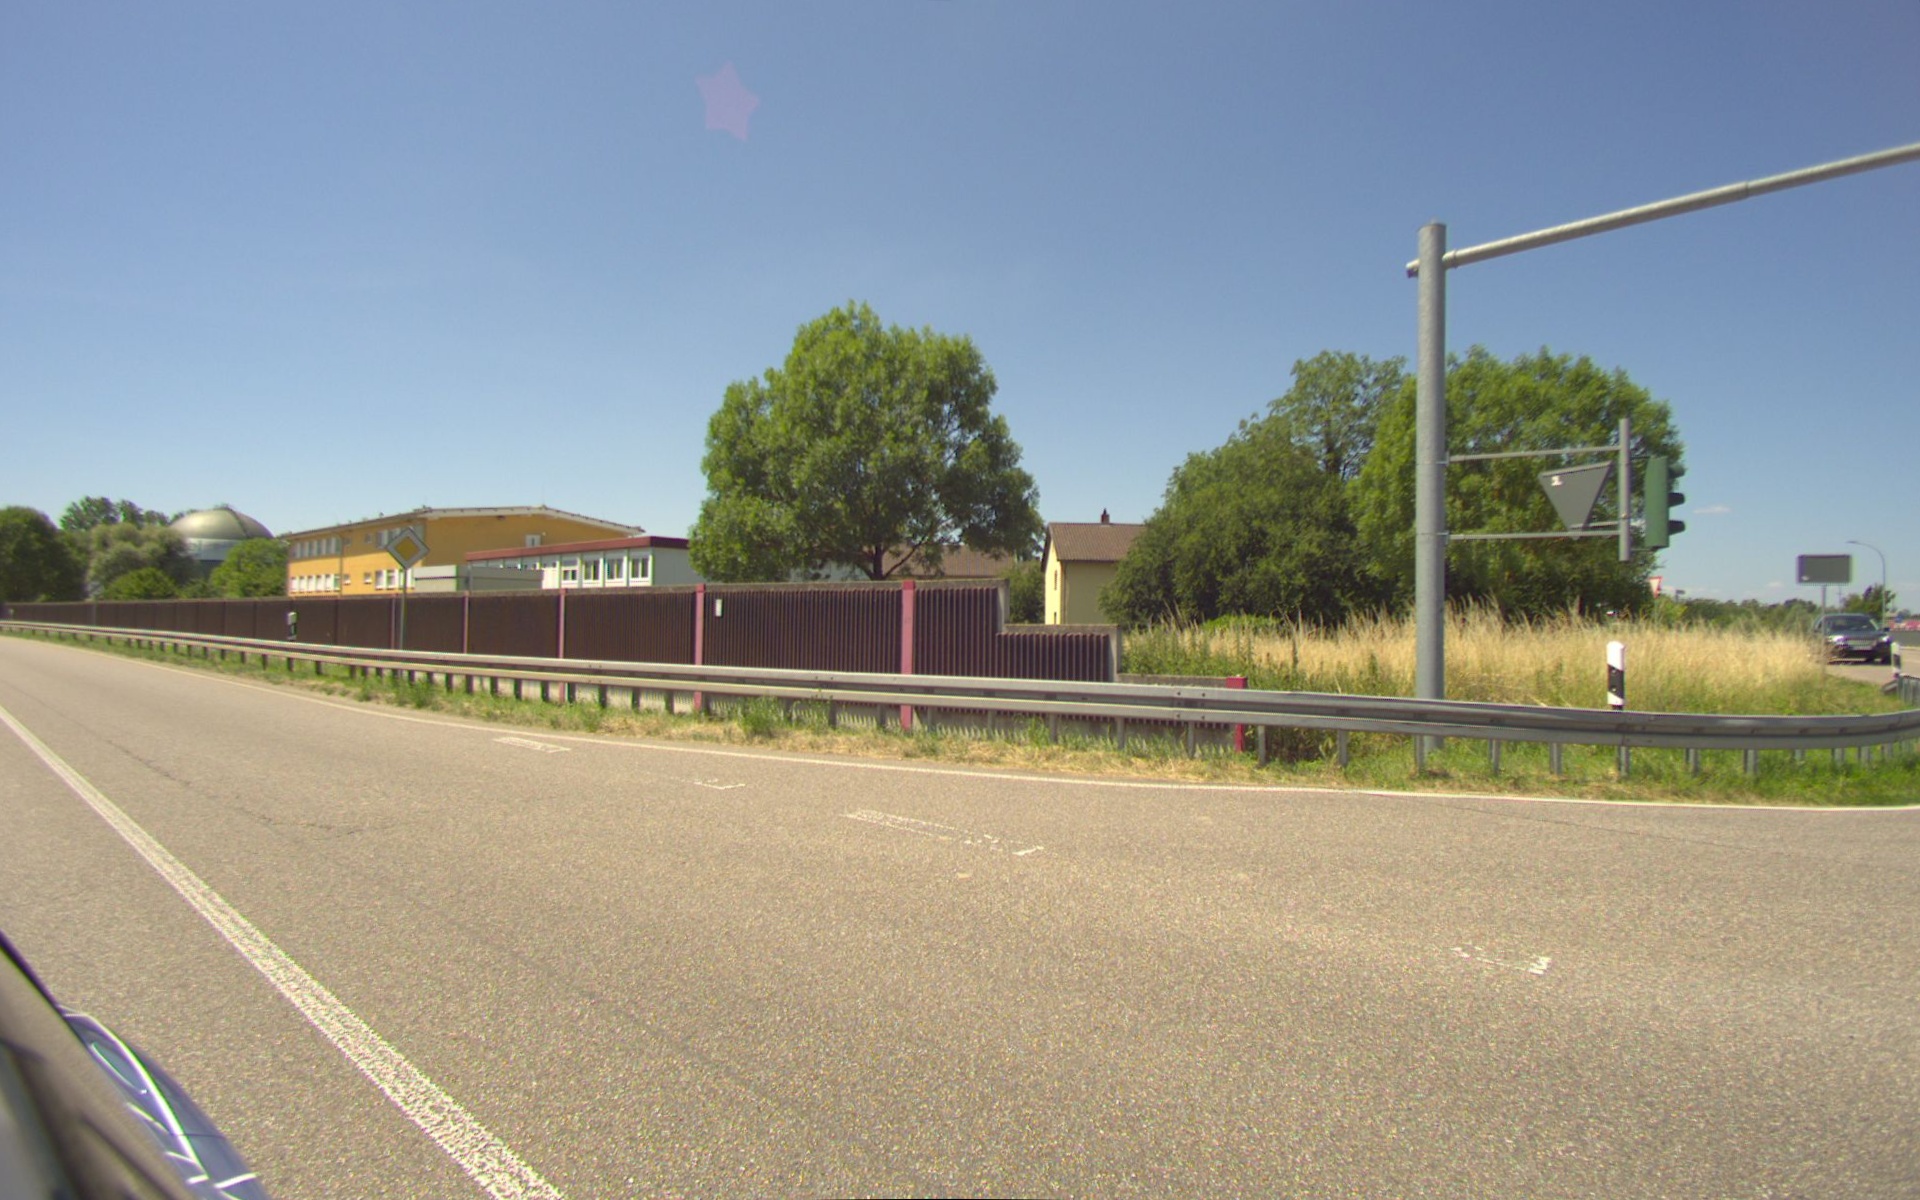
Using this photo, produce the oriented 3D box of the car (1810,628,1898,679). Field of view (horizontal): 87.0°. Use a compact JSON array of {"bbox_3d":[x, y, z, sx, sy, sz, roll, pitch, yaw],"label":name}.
[{"bbox_3d":[31.060,1.822,35.265,1.767,1.637,4.184,-1,-2,35],"label":"car"}]
